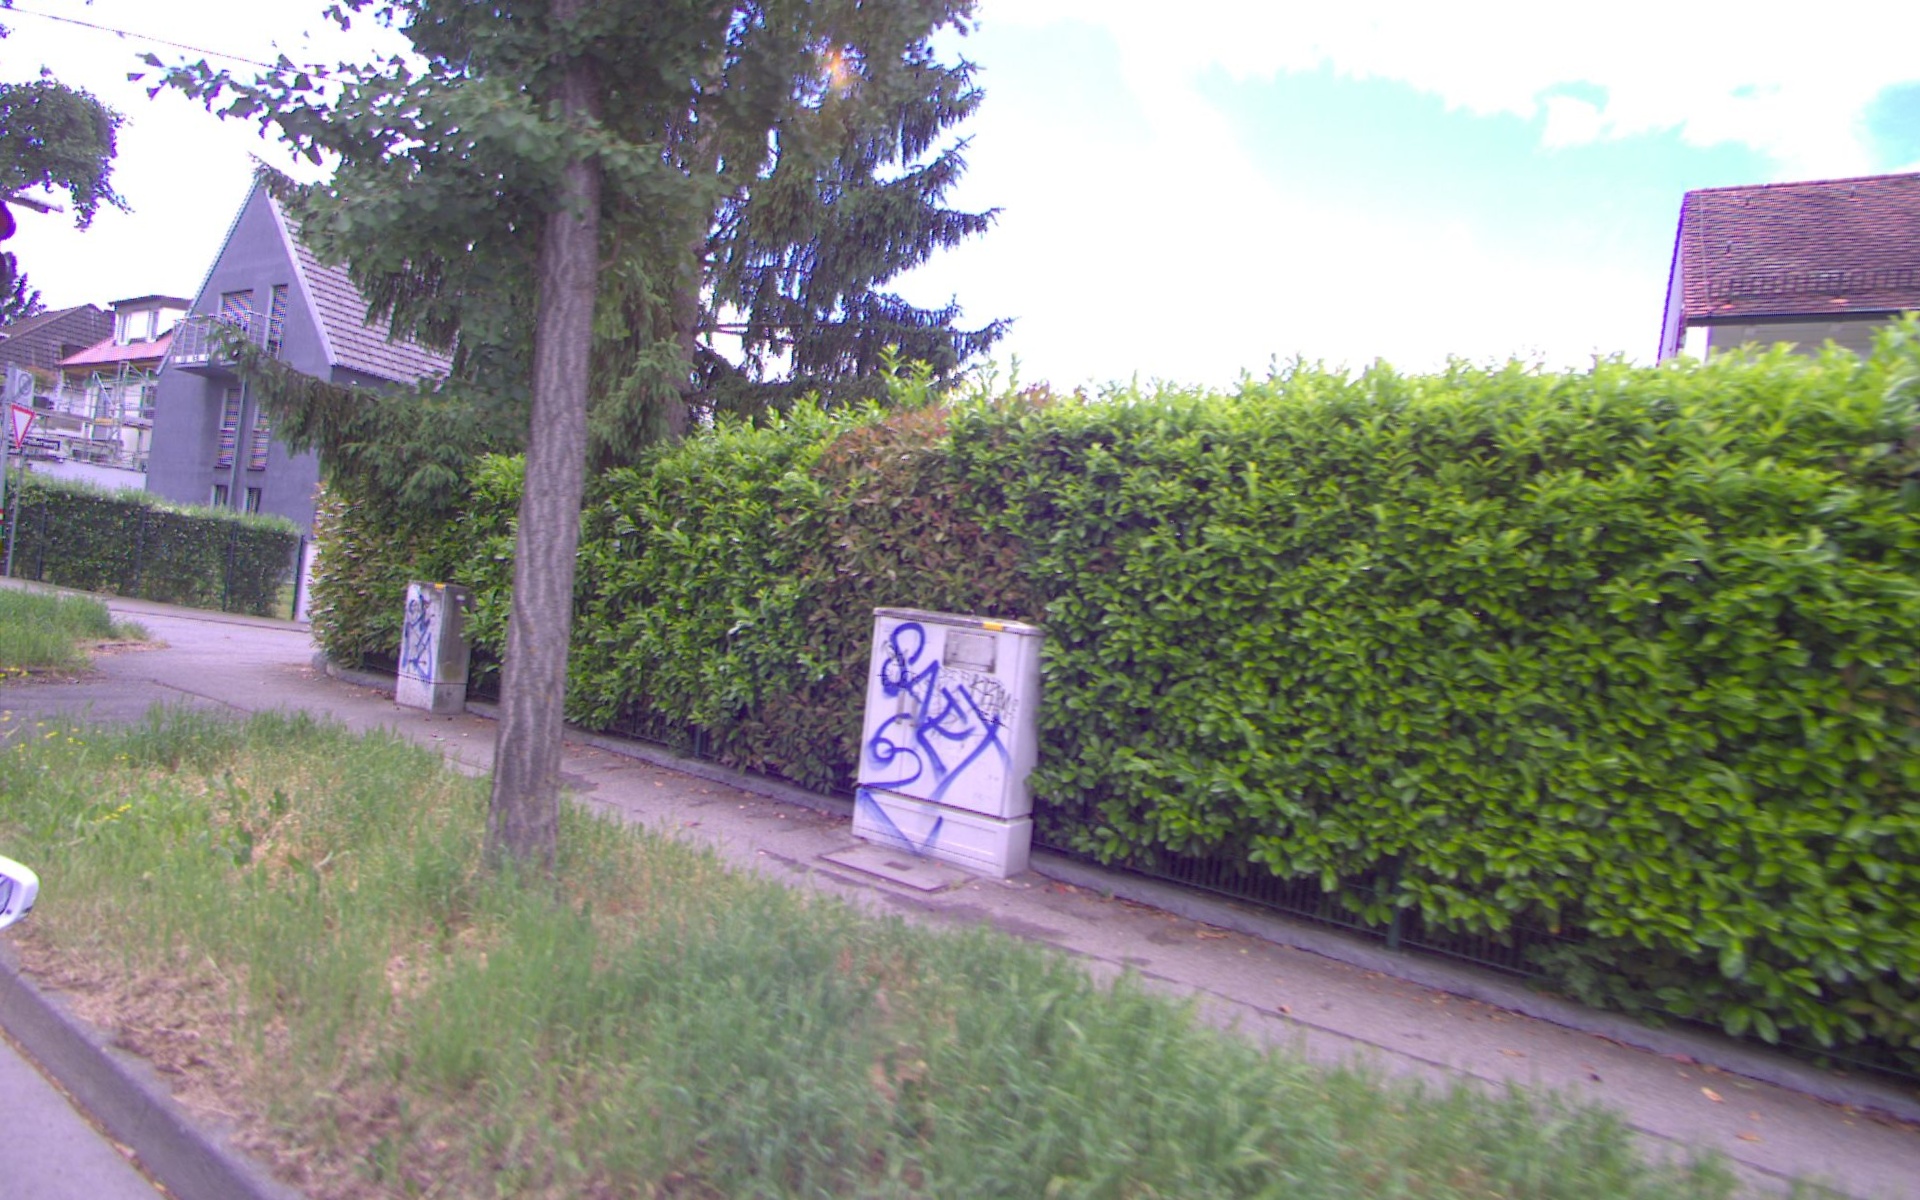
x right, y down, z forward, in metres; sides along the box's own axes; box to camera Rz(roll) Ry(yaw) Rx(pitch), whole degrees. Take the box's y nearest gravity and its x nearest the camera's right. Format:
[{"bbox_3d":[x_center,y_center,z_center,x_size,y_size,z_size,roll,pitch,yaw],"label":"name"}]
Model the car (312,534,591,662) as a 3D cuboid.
[{"bbox_3d":[-10.741,0.052,21.656,2.123,1.988,4.771,7,-3,32],"label":"car"}]
